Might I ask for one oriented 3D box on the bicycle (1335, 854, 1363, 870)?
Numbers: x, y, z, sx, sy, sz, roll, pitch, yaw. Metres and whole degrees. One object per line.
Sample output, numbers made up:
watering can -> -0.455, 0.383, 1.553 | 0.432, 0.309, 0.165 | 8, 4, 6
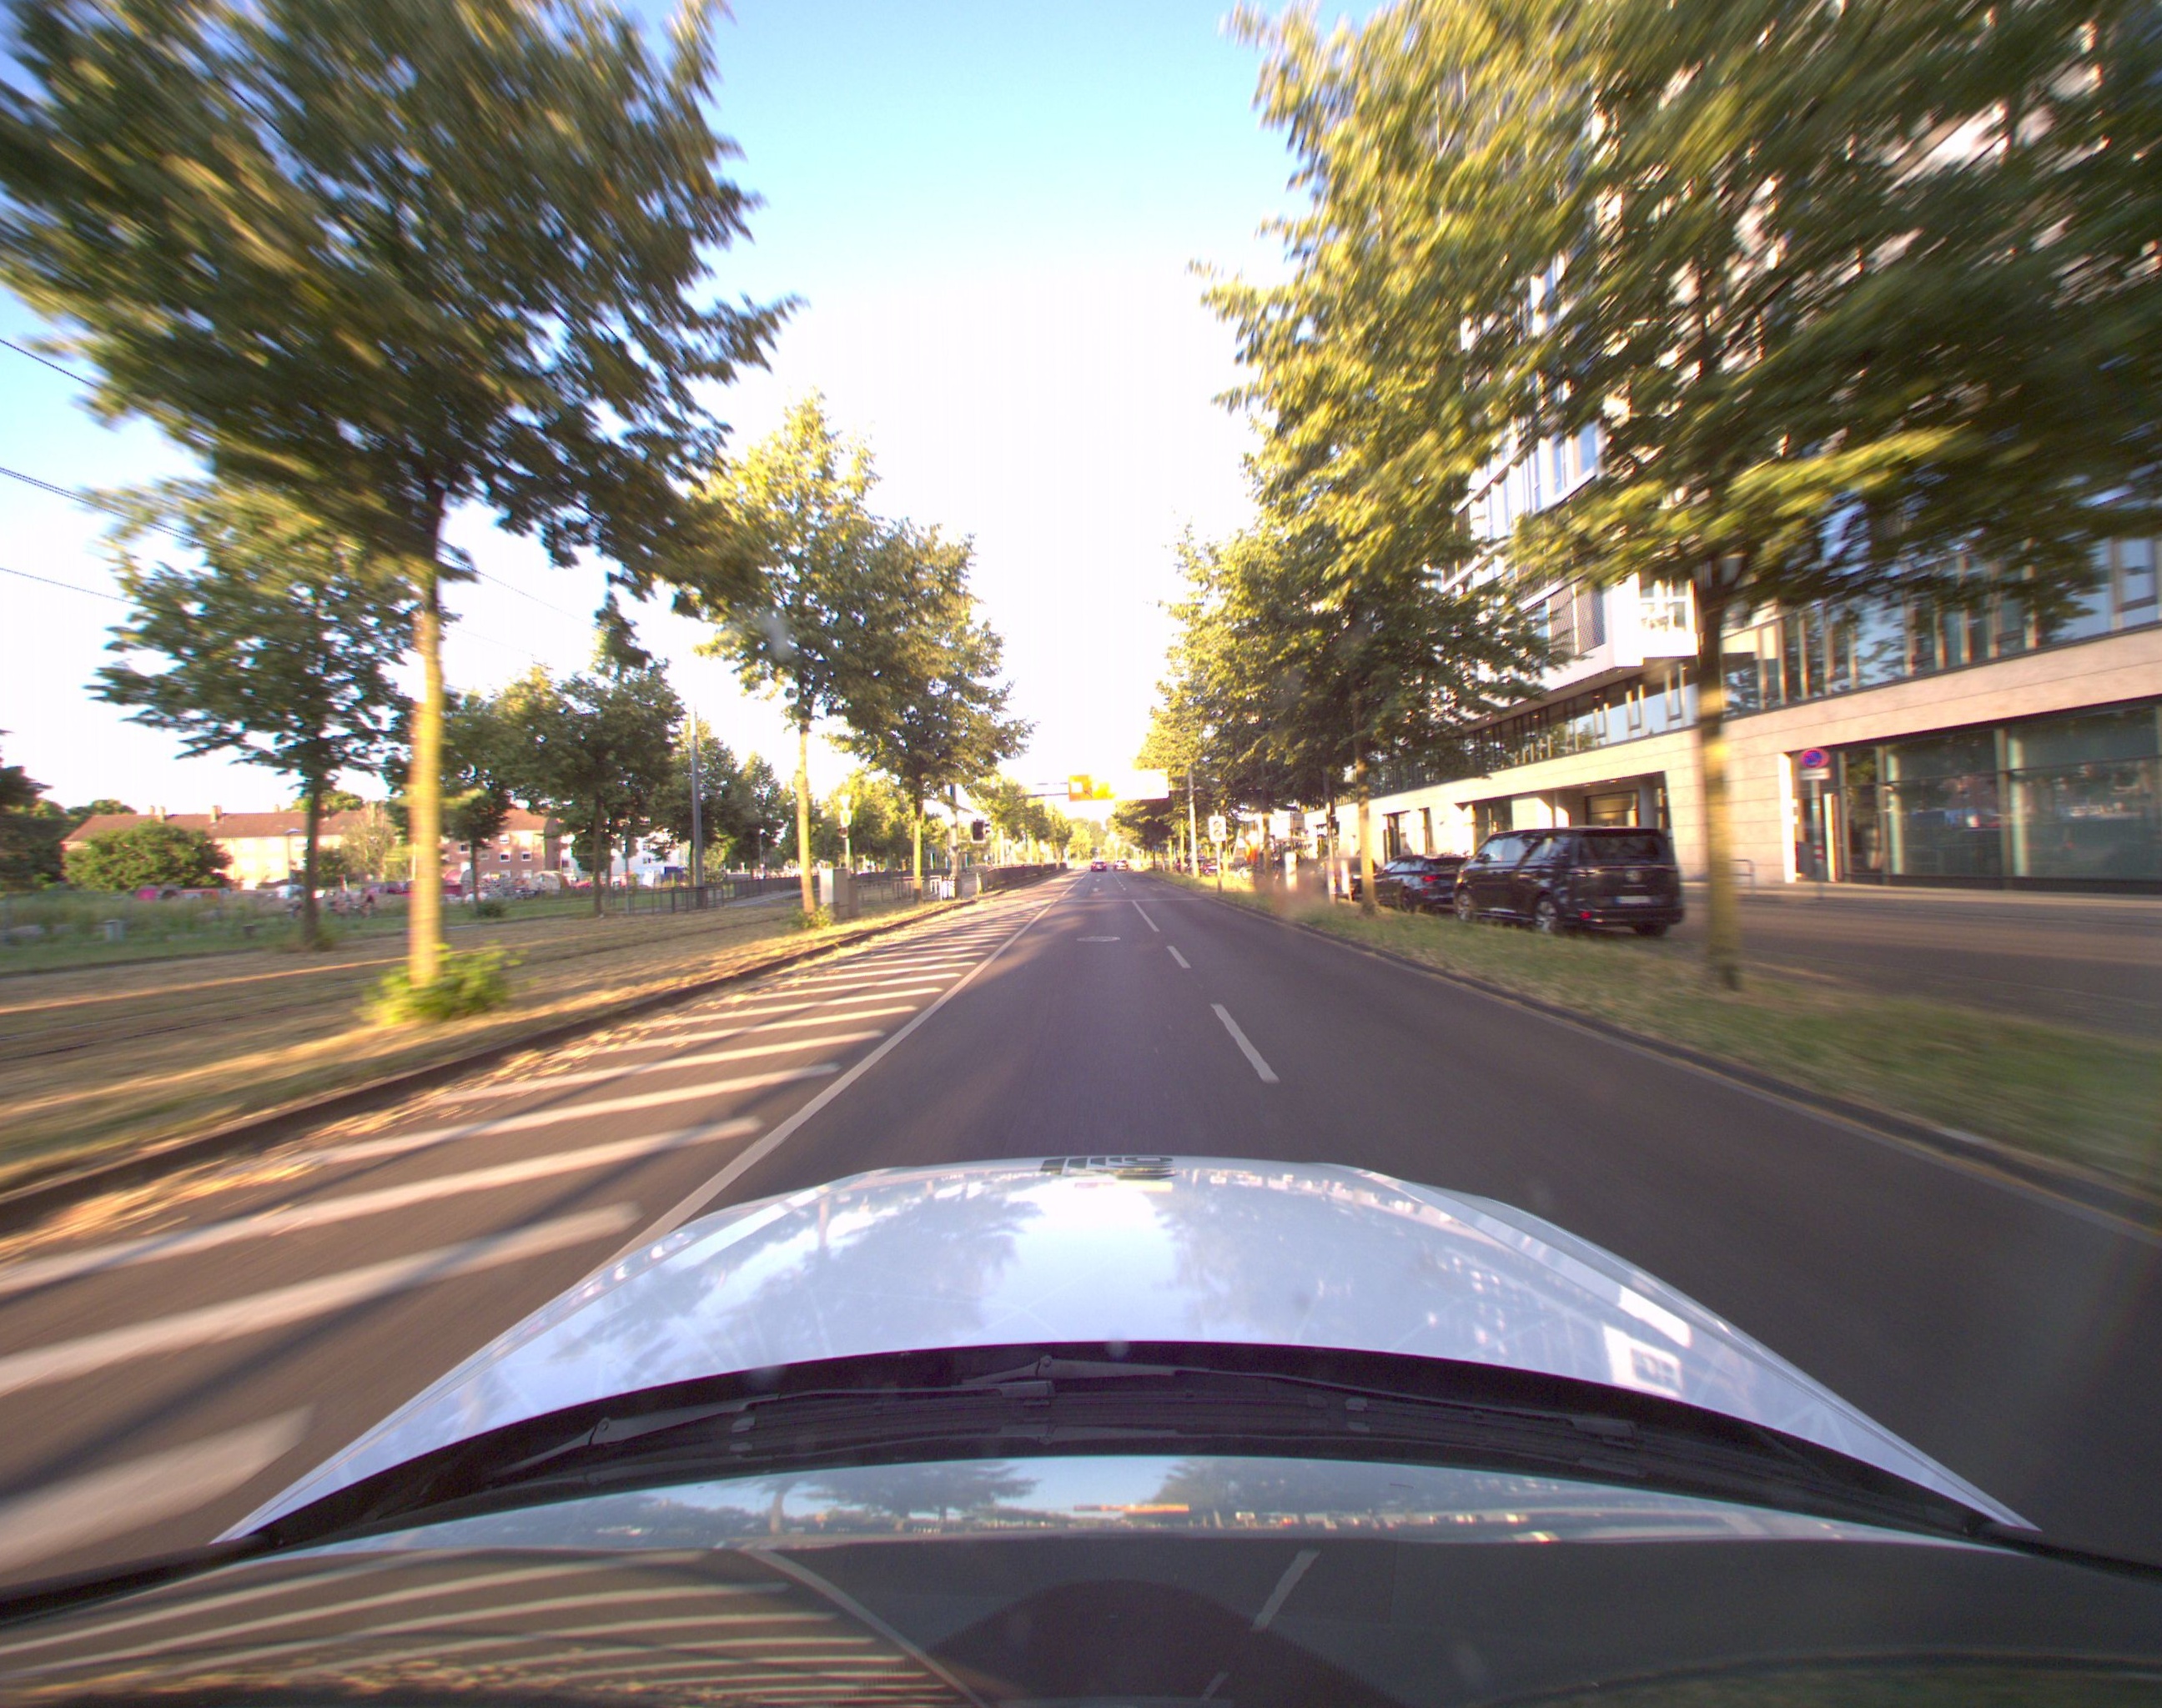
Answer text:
bicycle -> 18.995, 0.581, 57.790 | 1.780, 1.104, 0.508 | -2, -1, -4

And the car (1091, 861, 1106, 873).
car -> 2.407, 1.782, 111.592 | 1.905, 1.486, 4.000 | -2, -1, 1

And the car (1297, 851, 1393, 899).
car -> 8.783, 0.675, 27.564 | 1.861, 1.411, 4.648 | -3, -1, 2

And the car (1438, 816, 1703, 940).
car -> 8.674, 0.389, 15.052 | 1.987, 1.852, 4.663 | -2, -1, -1

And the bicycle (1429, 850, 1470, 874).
bicycle -> 18.579, 0.396, 41.091 | 1.826, 1.113, 0.503 | -2, -1, -2

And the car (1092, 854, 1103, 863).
car -> 2.990, 0.817, 146.278 | 1.905, 1.486, 4.000 | -2, -1, 1

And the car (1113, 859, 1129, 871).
car -> 5.101, 1.375, 104.660 | 1.905, 1.486, 4.000 | -2, -1, 1

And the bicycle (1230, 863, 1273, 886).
bicycle -> 8.051, 0.970, 38.533 | 1.944, 1.054, 0.542 | 1, -1, -14

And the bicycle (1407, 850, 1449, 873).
bicycle -> 18.445, 0.402, 43.319 | 1.977, 1.100, 0.503 | -2, -1, -2

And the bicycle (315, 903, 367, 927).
bicycle -> -36.357, 2.983, 40.042 | 0.617, 1.011, 2.082 | -2, -1, -1

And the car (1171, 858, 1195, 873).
car -> 10.328, 1.134, 82.610 | 1.752, 1.466, 4.156 | -2, -1, -1

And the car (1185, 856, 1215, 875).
car -> 9.848, 0.956, 67.596 | 1.772, 1.472, 4.287 | -2, -1, 0

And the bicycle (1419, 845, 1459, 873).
bicycle -> 18.493, 0.256, 42.083 | 1.826, 1.357, 0.503 | -2, -1, -2

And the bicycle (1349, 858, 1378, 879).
bicycle -> 15.124, 0.759, 43.721 | 0.769, 1.079, 2.063 | -2, -1, -1

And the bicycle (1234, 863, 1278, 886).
bicycle -> 8.156, 0.954, 37.952 | 1.944, 1.054, 0.542 | 1, -1, -14

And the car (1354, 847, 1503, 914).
car -> 8.832, 0.629, 21.193 | 1.804, 1.471, 4.663 | -2, -1, -1

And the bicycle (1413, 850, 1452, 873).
bicycle -> 18.402, 0.395, 42.633 | 1.826, 1.121, 0.503 | -2, -1, -2

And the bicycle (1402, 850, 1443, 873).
bicycle -> 18.463, 0.402, 43.991 | 1.977, 1.141, 0.503 | -2, -1, -2

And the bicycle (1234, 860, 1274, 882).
bicycle -> 8.667, 0.845, 40.887 | 1.939, 1.054, 0.408 | 1, -1, -7

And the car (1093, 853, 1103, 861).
car -> 3.472, 0.676, 162.813 | 1.905, 1.486, 4.000 | -2, -1, 1

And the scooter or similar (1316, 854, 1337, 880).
scooter or similar -> 12.747, 0.688, 42.328 | 0.524, 1.310, 1.663 | -2, -1, -1

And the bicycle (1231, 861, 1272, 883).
bicycle -> 8.471, 0.872, 40.446 | 1.939, 1.054, 0.408 | 1, -1, -7

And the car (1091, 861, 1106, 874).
car -> 2.273, 1.710, 105.072 | 1.905, 1.486, 4.000 | -2, -1, 1

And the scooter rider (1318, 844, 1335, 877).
scooter rider -> 12.733, 0.340, 42.217 | 0.524, 1.638, 0.831 | -2, -1, -1

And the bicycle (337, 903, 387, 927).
bicycle -> -35.351, 2.971, 40.086 | 0.617, 1.011, 2.082 | -2, -1, -1

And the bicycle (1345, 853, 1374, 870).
bicycle -> 19.032, 0.521, 55.691 | 1.780, 1.104, 0.508 | -2, -1, -4

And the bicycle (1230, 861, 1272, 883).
bicycle -> 8.321, 0.886, 39.895 | 1.939, 1.054, 0.544 | 1, -1, -7

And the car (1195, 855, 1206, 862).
car -> 28.901, 1.088, 196.309 | 1.978, 1.728, 4.017 | -3, -1, 16

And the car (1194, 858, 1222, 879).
car -> 9.403, 1.036, 60.459 | 1.569, 1.472, 3.883 | -2, -1, 2

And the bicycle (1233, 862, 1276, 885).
bicycle -> 8.377, 0.956, 39.255 | 1.941, 1.054, 0.543 | 1, -1, -10

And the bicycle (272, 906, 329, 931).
bicycle -> -36.195, 2.984, 37.807 | 0.617, 1.011, 2.082 | -2, -1, -1
